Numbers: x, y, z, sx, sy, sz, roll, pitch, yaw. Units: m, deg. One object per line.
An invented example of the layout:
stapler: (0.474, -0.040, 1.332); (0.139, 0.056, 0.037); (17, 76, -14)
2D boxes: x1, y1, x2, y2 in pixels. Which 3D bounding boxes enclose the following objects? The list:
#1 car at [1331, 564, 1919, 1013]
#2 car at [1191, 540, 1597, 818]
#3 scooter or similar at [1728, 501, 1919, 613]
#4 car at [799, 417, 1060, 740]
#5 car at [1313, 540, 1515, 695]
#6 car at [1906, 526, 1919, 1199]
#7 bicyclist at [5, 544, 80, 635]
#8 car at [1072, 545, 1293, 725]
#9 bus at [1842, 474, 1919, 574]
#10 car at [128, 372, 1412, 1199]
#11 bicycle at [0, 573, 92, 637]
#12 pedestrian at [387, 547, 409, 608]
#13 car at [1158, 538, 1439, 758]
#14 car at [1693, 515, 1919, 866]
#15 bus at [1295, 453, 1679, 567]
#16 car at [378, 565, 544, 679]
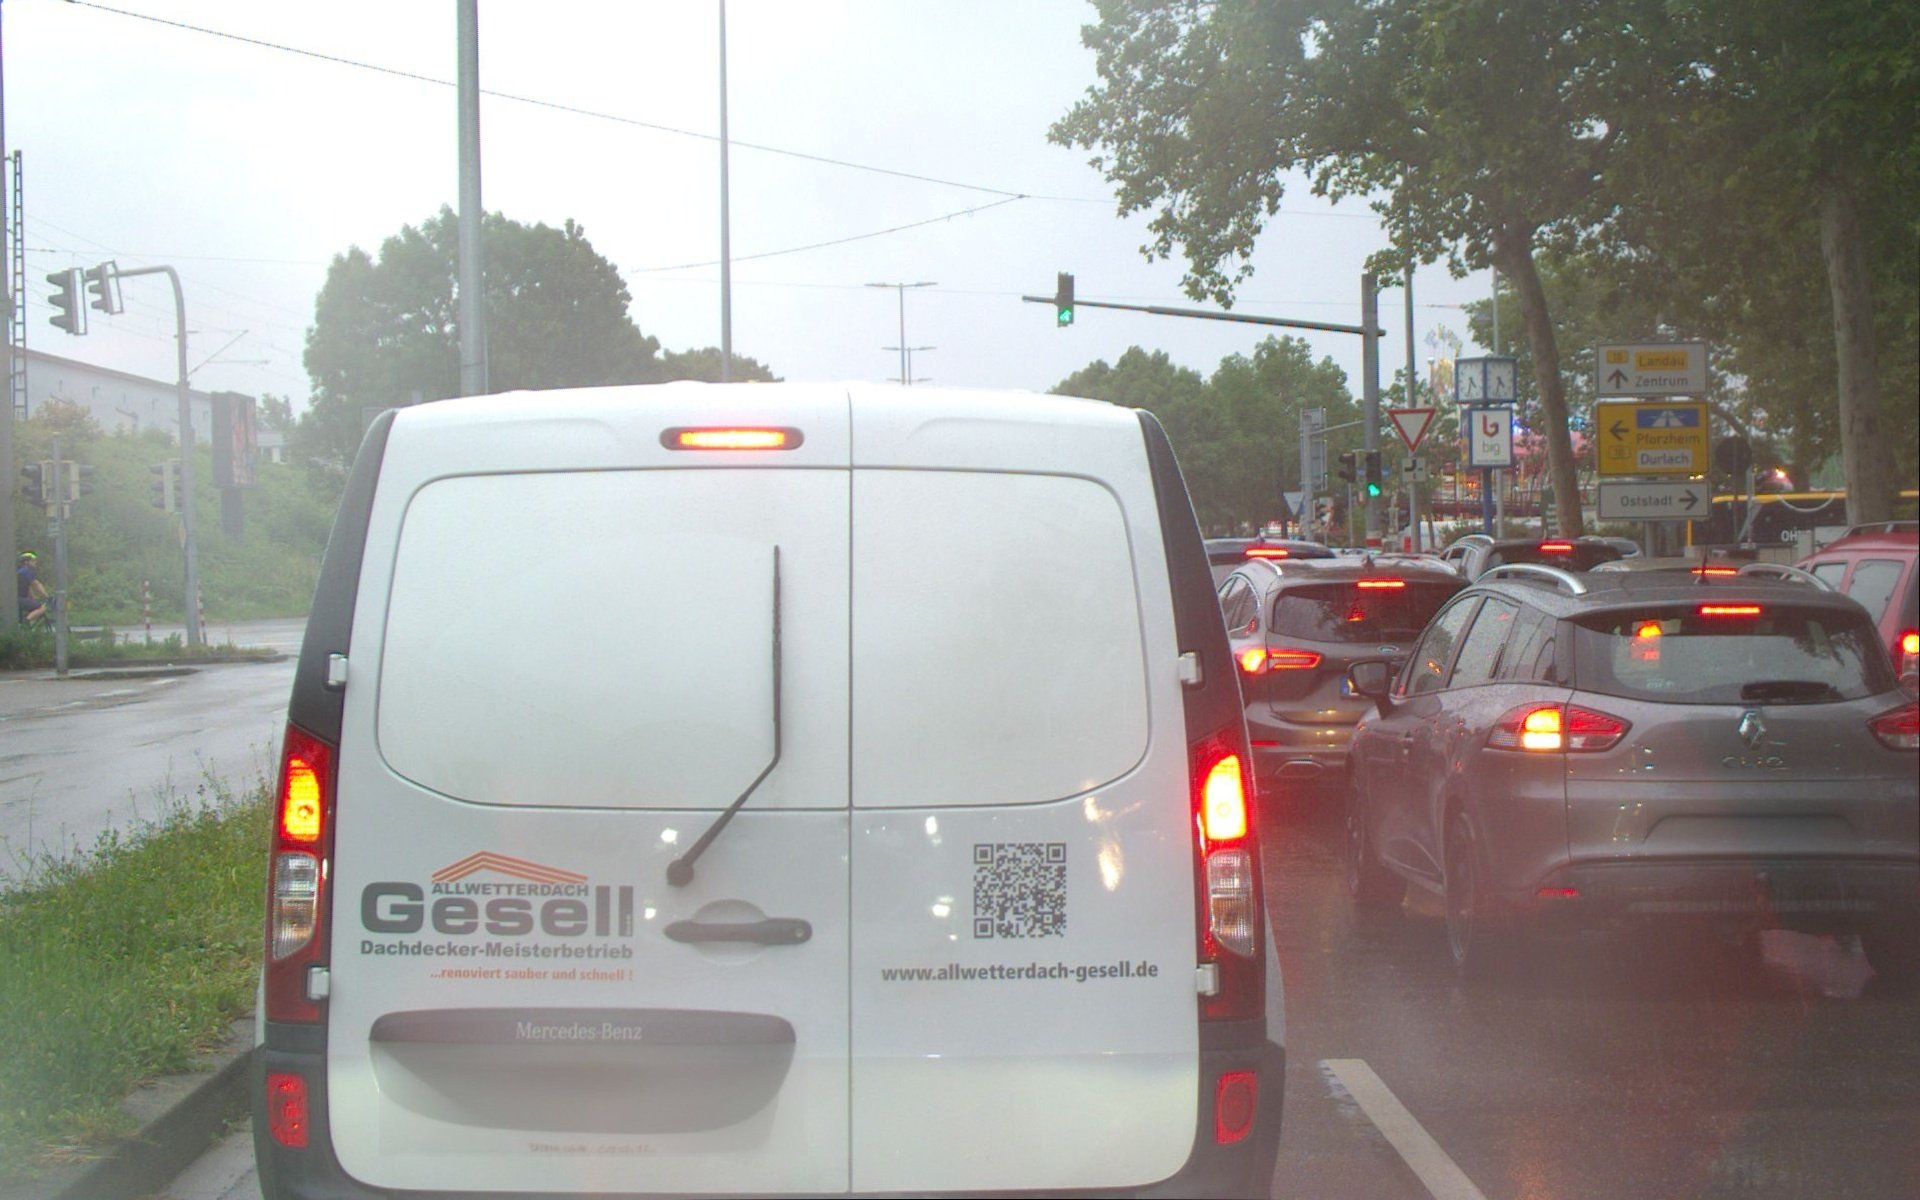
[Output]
car: (2.514, 0.595, 13.088); (1.683, 1.403, 3.843); (1, 1, -1)
car: (2.434, 0.386, 20.163); (1.854, 1.455, 3.843); (0, 1, -1)
scooter or similar: (19.977, -0.982, 77.065); (1.890, 2.437, 5.316); (-1, 1, -41)
car: (-0.240, -0.193, 26.412); (1.854, 2.288, 3.843); (0, 1, -1)
car: (5.050, 0.171, 38.635); (1.708, 1.644, 3.843); (0, 1, -1)
car: (2.976, 0.652, 5.410); (1.747, 1.549, 4.091); (0, 1, -1)
bicyclist: (-14.811, -0.177, 55.491); (1.040, 1.445, 0.729); (-2, 2, -25)
car: (2.111, 0.301, 33.525); (1.854, 1.644, 3.843); (0, 1, -1)
bus: (36.706, -2.801, 121.908); (11.970, 3.411, 2.483); (-2, 2, -28)
car: (-0.317, 0.485, 7.652); (1.993, 1.770, 4.585); (0, 1, -1)
bicycle: (-14.845, 0.069, 55.563); (1.040, 0.949, 2.889); (-2, 2, -25)
pedestrian: (-15.718, -0.635, 96.103); (0.543, 1.710, 0.563); (1, 0, -4)
car: (2.669, 0.328, 27.862); (1.854, 1.644, 3.843); (0, 1, -1)
car: (5.334, 0.436, 18.699); (1.710, 1.688, 4.272); (1, 0, -1)
bus: (16.945, -2.914, 110.879); (11.970, 3.411, 2.315); (-1, 1, 0)
car: (-7.088, 0.280, 49.170); (1.816, 1.457, 4.000); (-3, 1, -1)
